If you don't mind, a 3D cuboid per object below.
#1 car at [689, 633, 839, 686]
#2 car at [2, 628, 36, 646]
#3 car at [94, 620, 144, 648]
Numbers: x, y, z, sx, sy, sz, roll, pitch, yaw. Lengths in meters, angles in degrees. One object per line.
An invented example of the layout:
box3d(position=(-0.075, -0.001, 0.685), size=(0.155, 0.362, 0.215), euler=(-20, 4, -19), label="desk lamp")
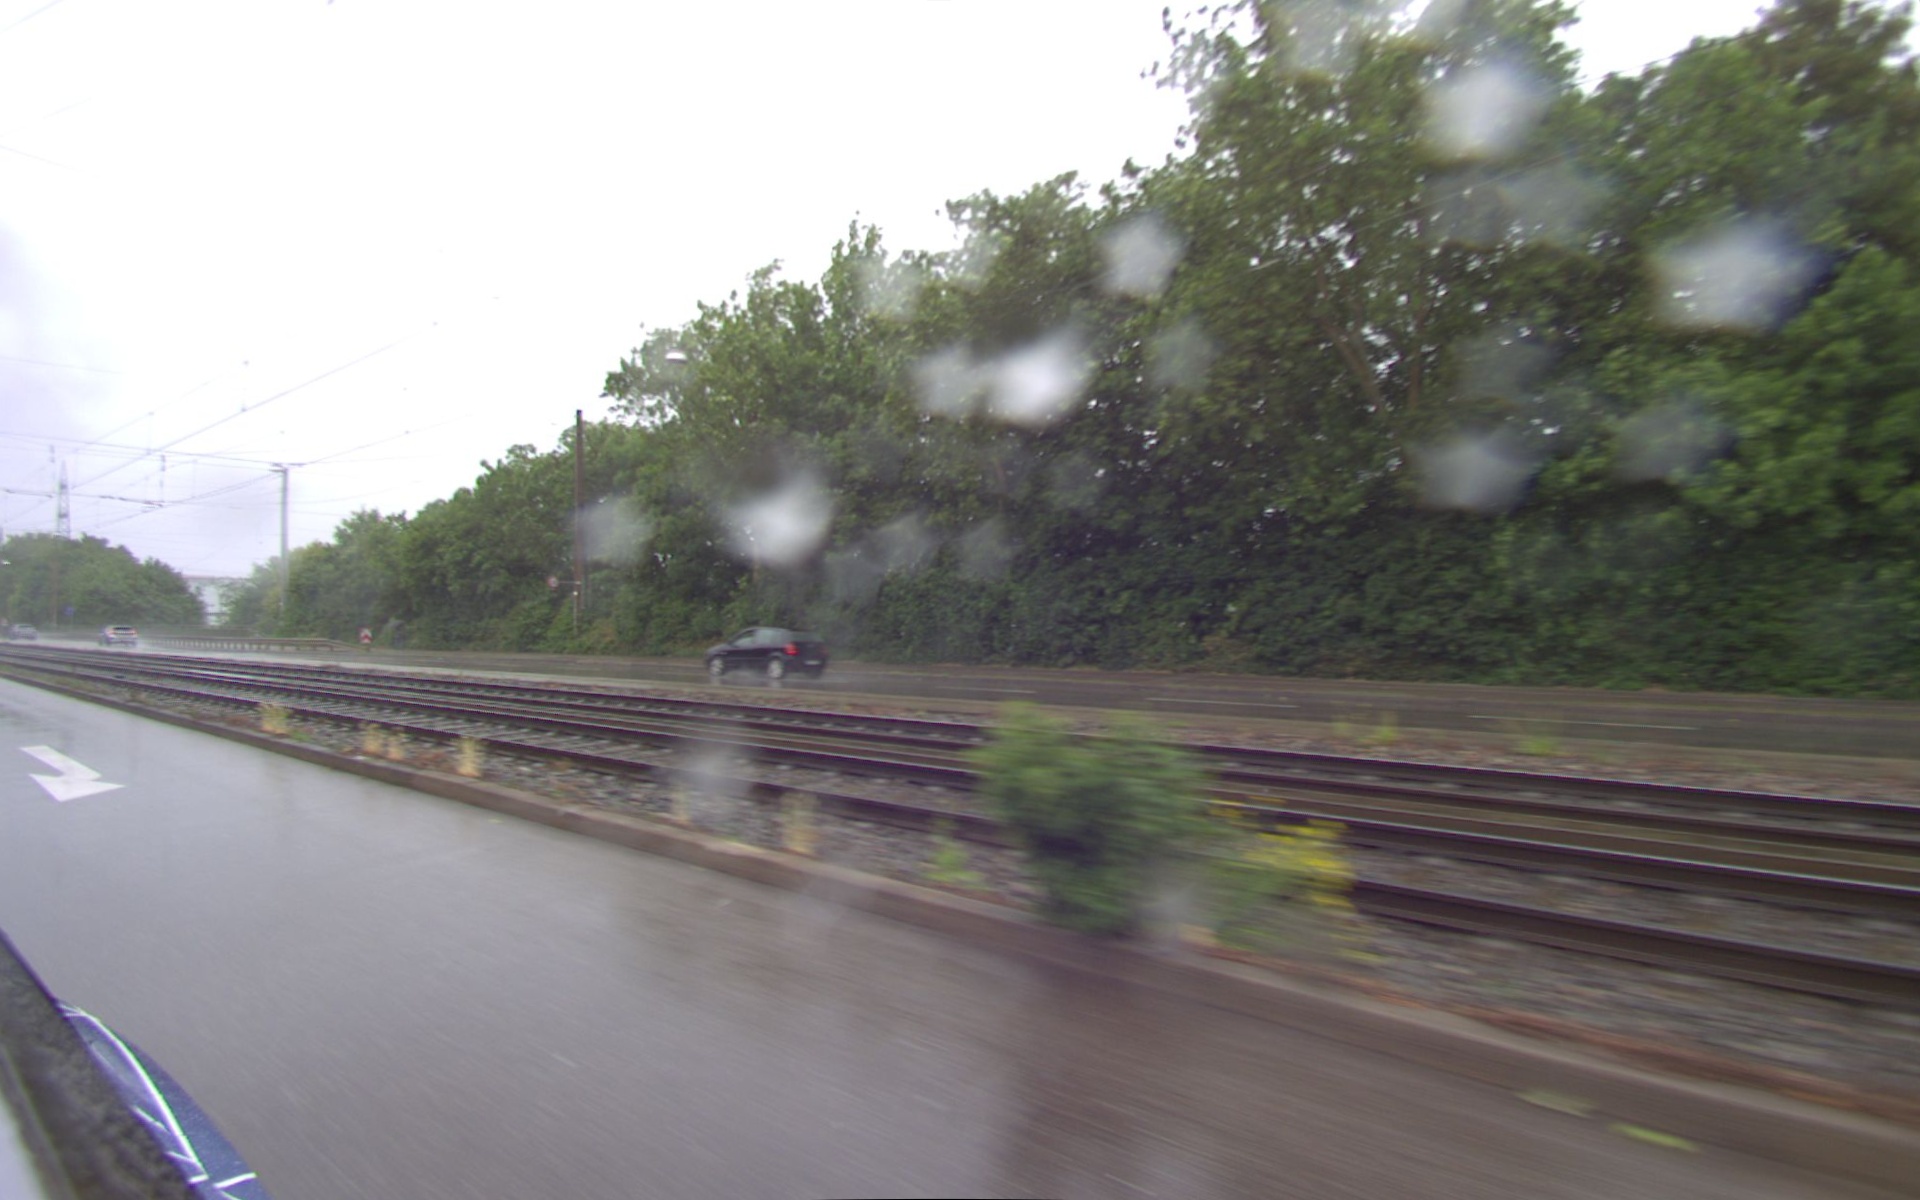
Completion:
box3d(position=(-5.545, 1.602, 28.297), size=(4.376, 1.340, 1.754), euler=(-2, -1, 40), label="car")
box3d(position=(-95.693, 3.757, 102.921), size=(4.868, 1.685, 1.973), euler=(-2, -2, 40), label="car")
box3d(position=(-60.265, 2.425, 72.514), size=(3.997, 1.796, 1.974), euler=(-2, 3, 40), label="car")
